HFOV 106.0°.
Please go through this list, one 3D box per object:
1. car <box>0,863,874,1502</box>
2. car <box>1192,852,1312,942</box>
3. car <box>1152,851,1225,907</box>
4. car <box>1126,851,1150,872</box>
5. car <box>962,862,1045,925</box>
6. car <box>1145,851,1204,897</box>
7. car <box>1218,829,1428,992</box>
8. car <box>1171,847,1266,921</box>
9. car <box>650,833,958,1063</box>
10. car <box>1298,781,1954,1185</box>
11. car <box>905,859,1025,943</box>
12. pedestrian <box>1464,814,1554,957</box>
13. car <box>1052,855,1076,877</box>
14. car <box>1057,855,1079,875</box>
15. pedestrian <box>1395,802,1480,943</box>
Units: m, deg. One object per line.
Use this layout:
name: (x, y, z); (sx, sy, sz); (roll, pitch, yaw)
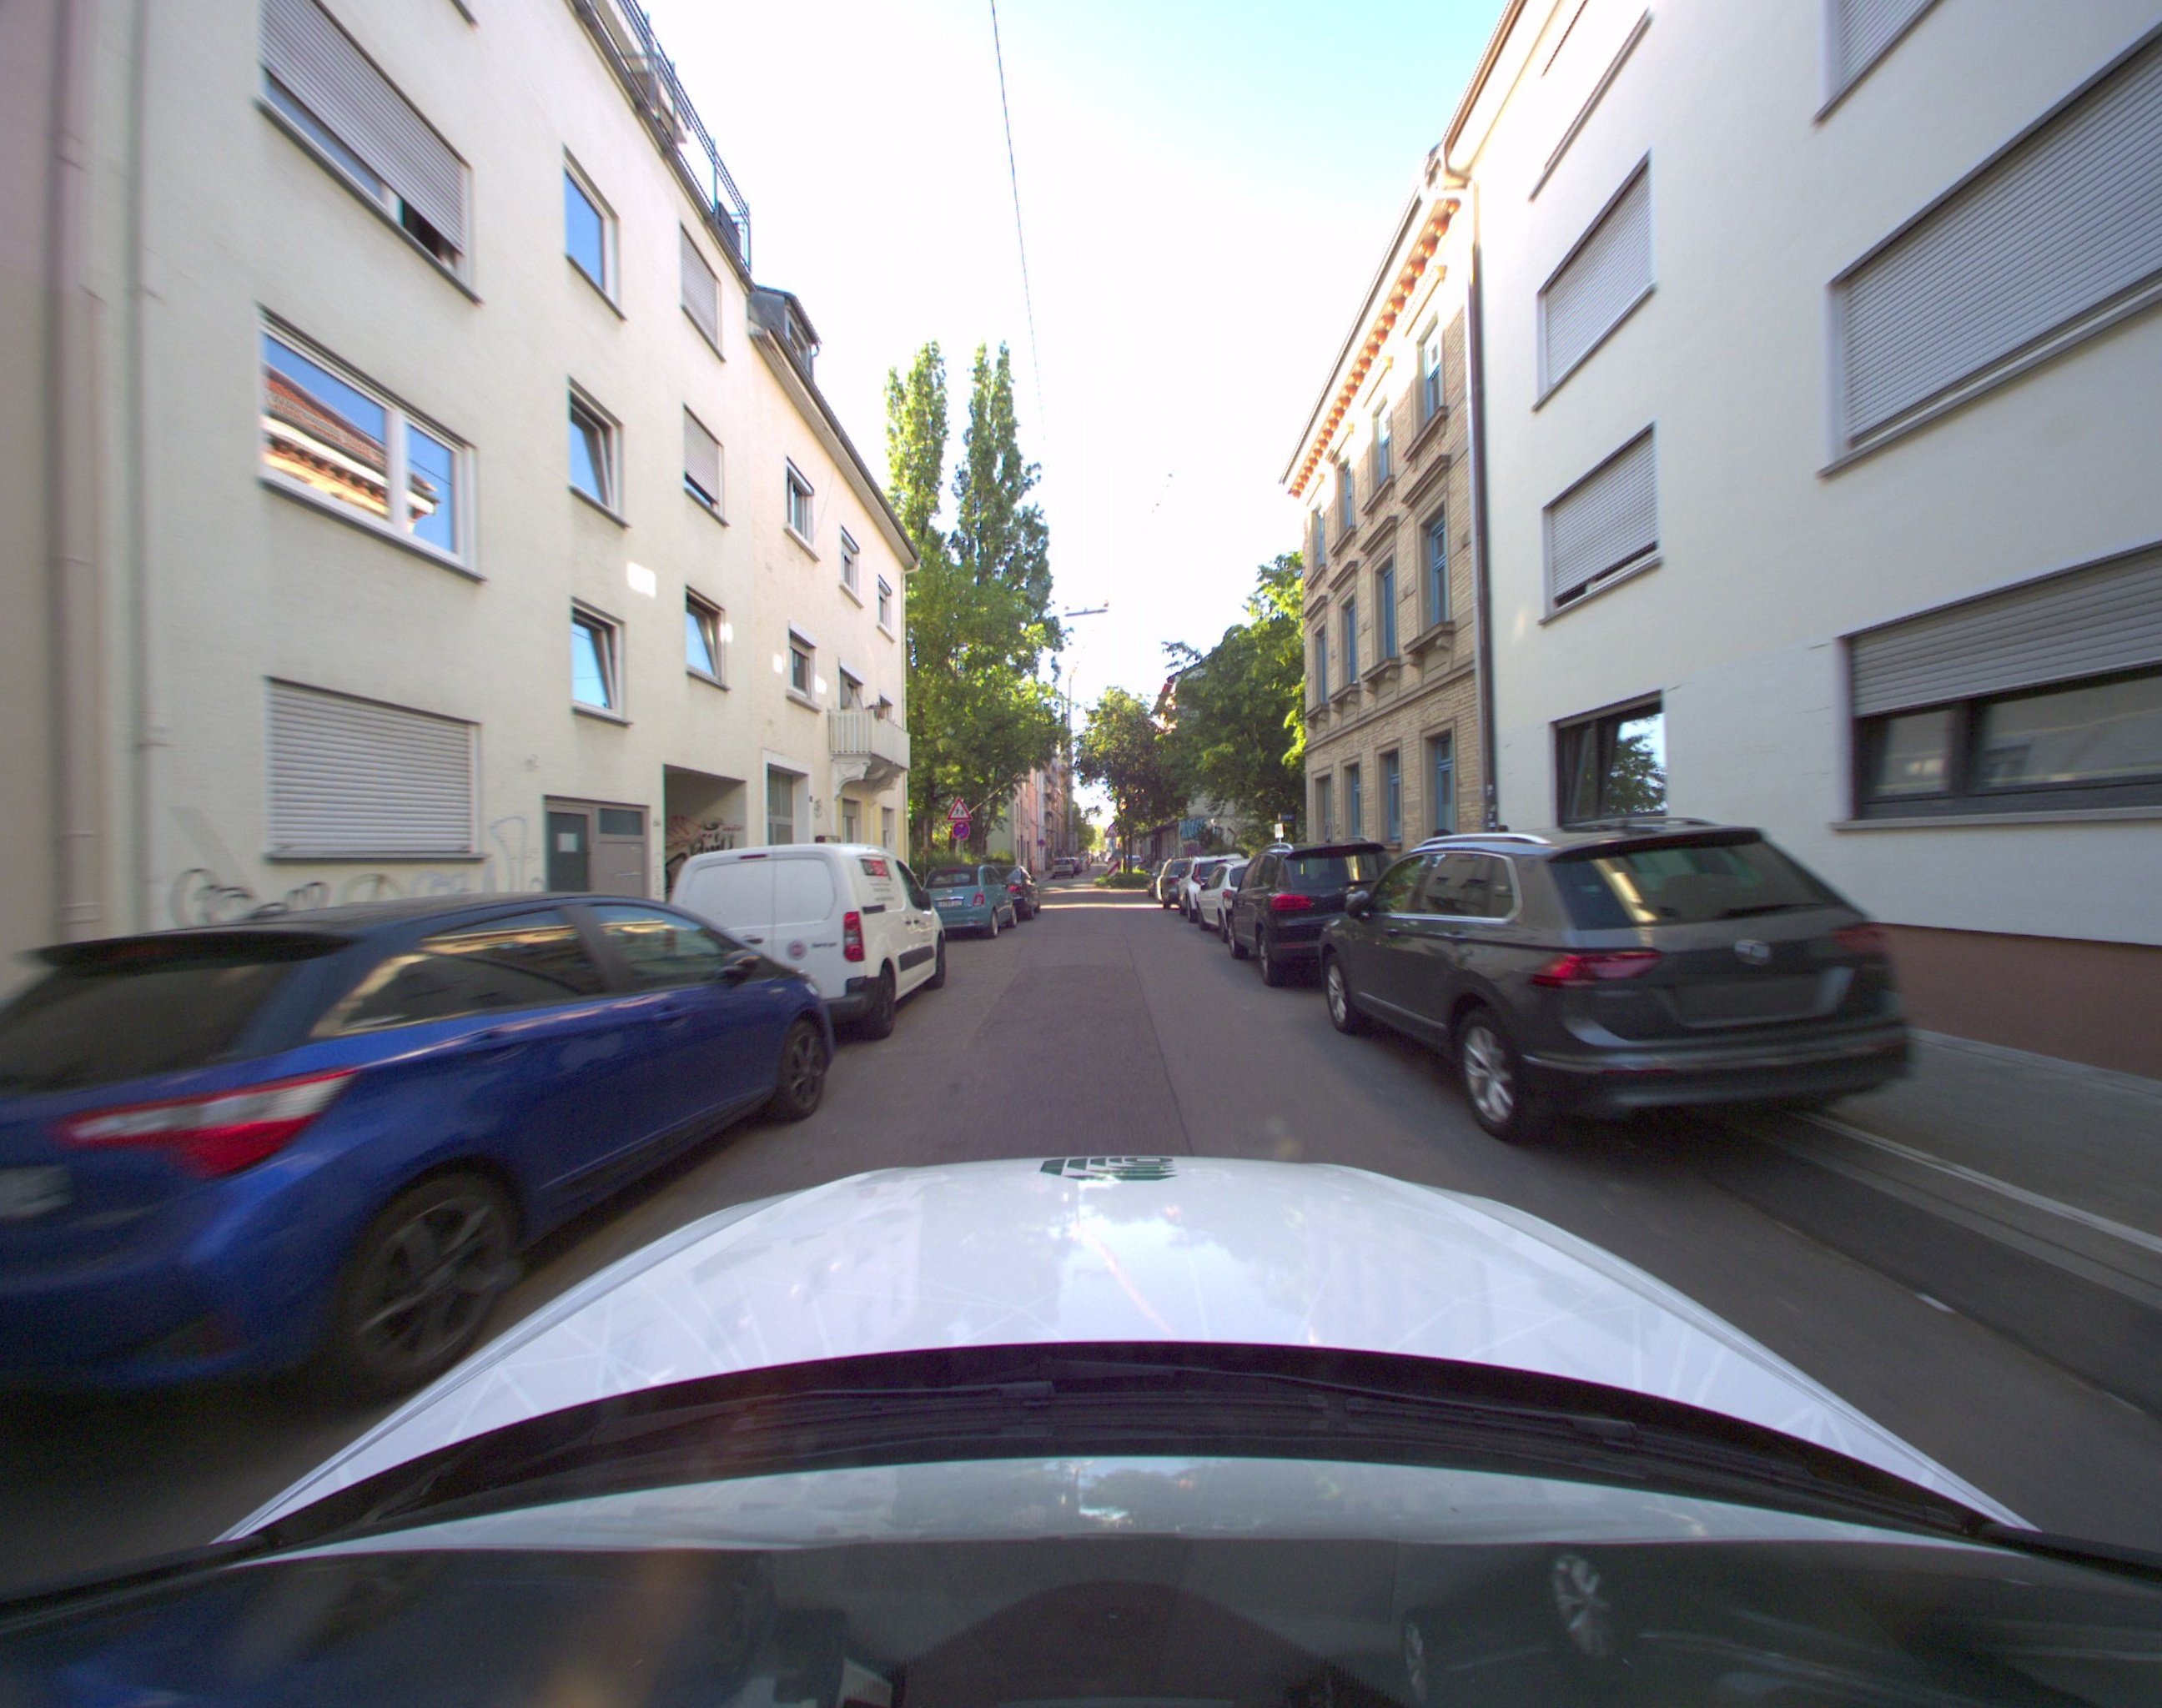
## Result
car: (-2.619, 0.875, 4.065); (1.665, 1.486, 3.999); (-3, 0, 6)
car: (3.218, 0.743, 15.951); (1.561, 1.483, 3.619); (-3, 0, 1)
car: (3.219, 0.688, 25.071); (1.670, 1.487, 4.095); (-3, 0, 1)
car: (4.448, 0.574, 63.971); (1.670, 1.487, 3.638); (-3, 0, 1)
car: (-1.964, 0.966, 21.635); (1.664, 1.361, 4.050); (-3, 0, 1)
car: (3.372, 0.678, 30.072); (1.670, 1.487, 4.095); (-3, 0, 1)
car: (2.980, 0.644, 10.941); (1.669, 1.681, 4.097); (-3, -1, 2)
car: (3.299, 0.666, 20.164); (1.670, 1.561, 3.796); (-3, 0, 1)
car: (-2.569, 0.762, 8.681); (1.759, 1.785, 4.039); (-3, 0, 1)
car: (2.969, 0.571, 5.717); (1.670, 1.627, 4.251); (-5, 0, 1)
car: (-2.363, 0.920, 17.536); (1.662, 1.469, 3.825); (-3, 0, 4)
pedestrian: (5.229, 0.375, 9.989); (0.683, 1.660, 0.717); (-2, 0, 1)
car: (-1.292, 0.914, 62.823); (1.670, 1.487, 4.095); (-3, 0, 1)
car: (-1.061, 0.896, 68.100); (1.670, 1.487, 4.095); (-3, 0, 1)
pedestrian: (4.396, 0.221, 10.082); (0.683, 1.660, 0.717); (-2, 0, 1)
